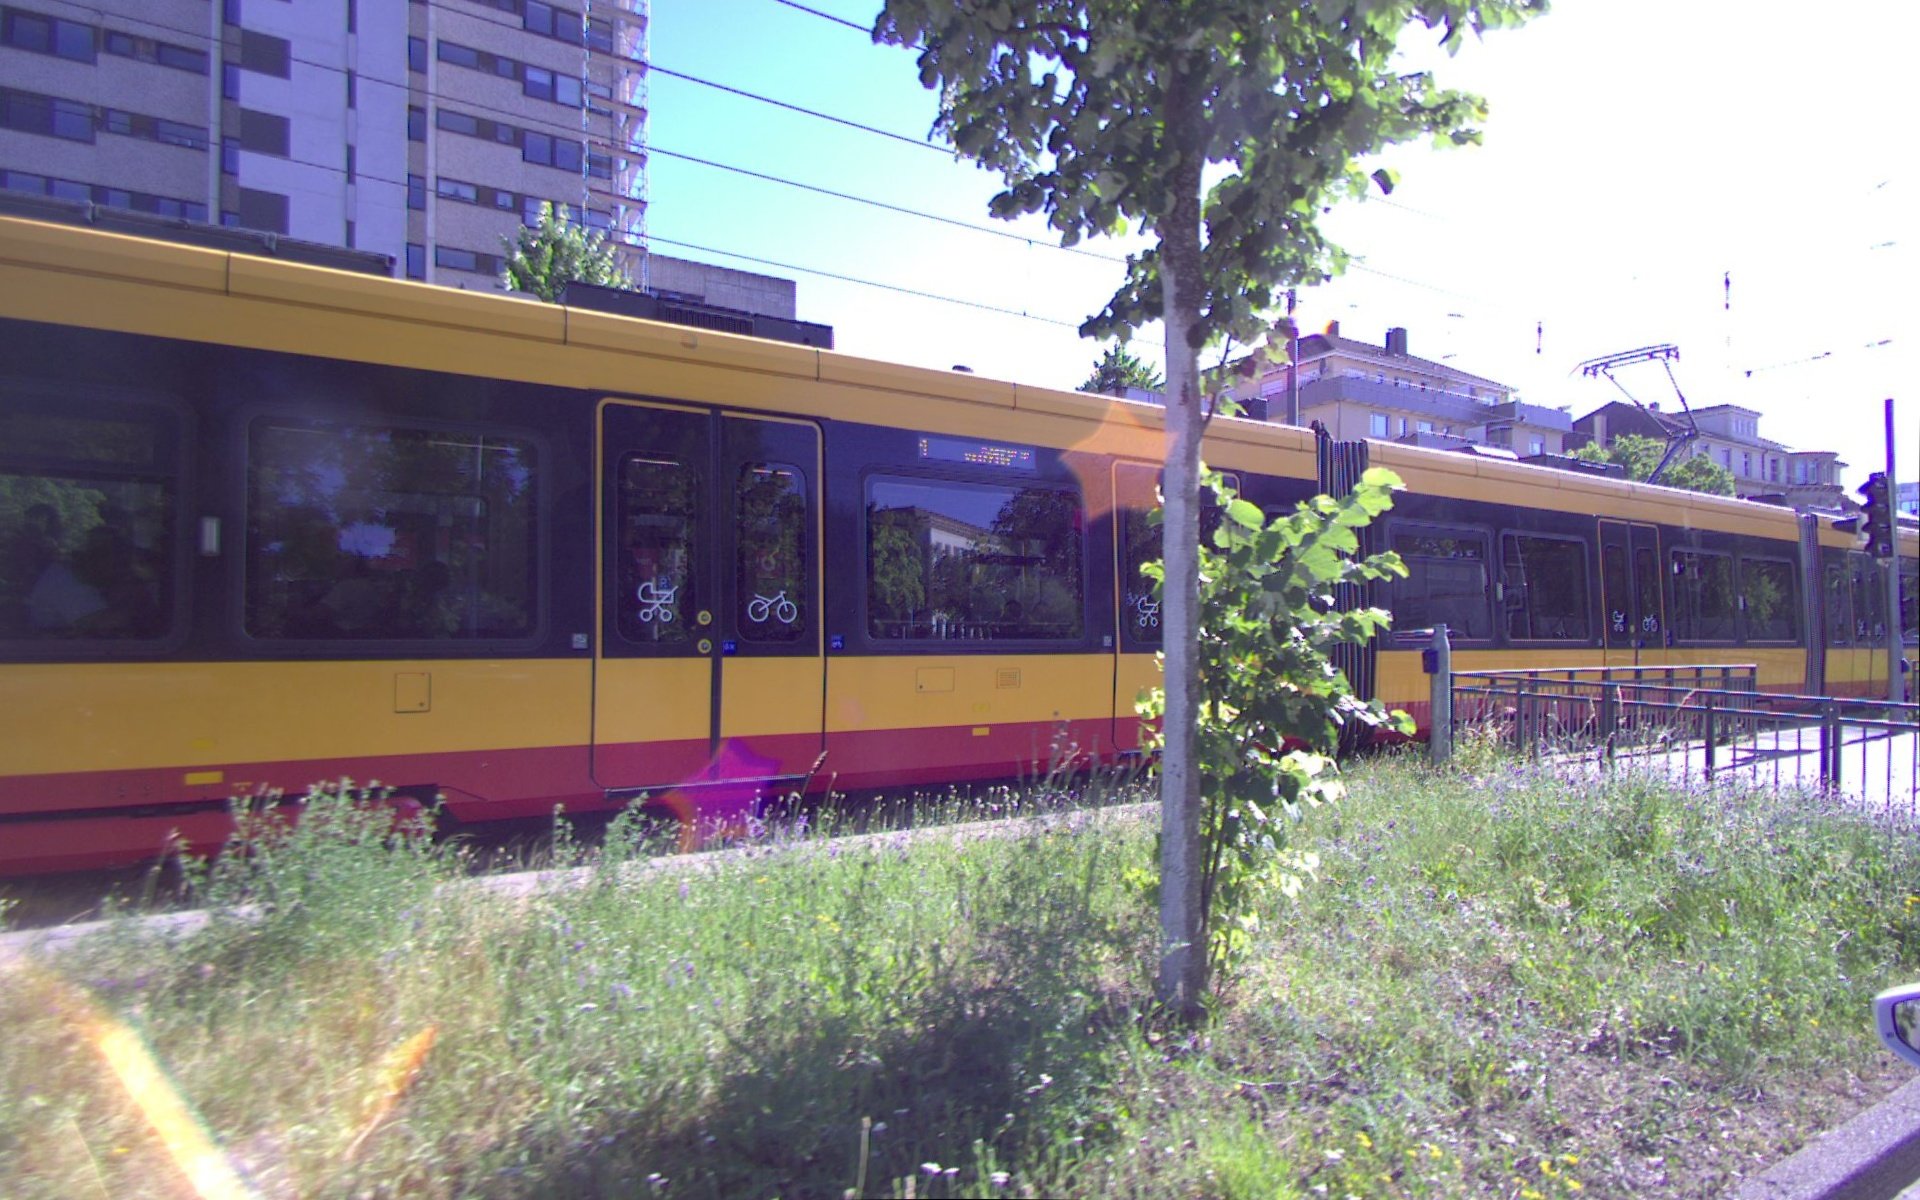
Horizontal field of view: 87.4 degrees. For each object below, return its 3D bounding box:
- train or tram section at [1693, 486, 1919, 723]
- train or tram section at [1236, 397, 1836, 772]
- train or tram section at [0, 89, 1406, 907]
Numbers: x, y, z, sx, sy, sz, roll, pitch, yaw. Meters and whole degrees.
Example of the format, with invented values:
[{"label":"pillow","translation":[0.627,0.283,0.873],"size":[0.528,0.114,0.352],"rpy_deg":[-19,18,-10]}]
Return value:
[{"label":"train or tram section","translation":[18.224,0.194,19.586],"size":[11.548,3.718,1.984],"rpy_deg":[1,-1,-31]},{"label":"train or tram section","translation":[8.503,-0.033,13.743],"size":[11.187,3.718,1.983],"rpy_deg":[1,-1,-31]},{"label":"train or tram section","translation":[-1.996,-0.386,7.207],"size":[13.993,3.718,1.983],"rpy_deg":[1,-1,-32]}]
